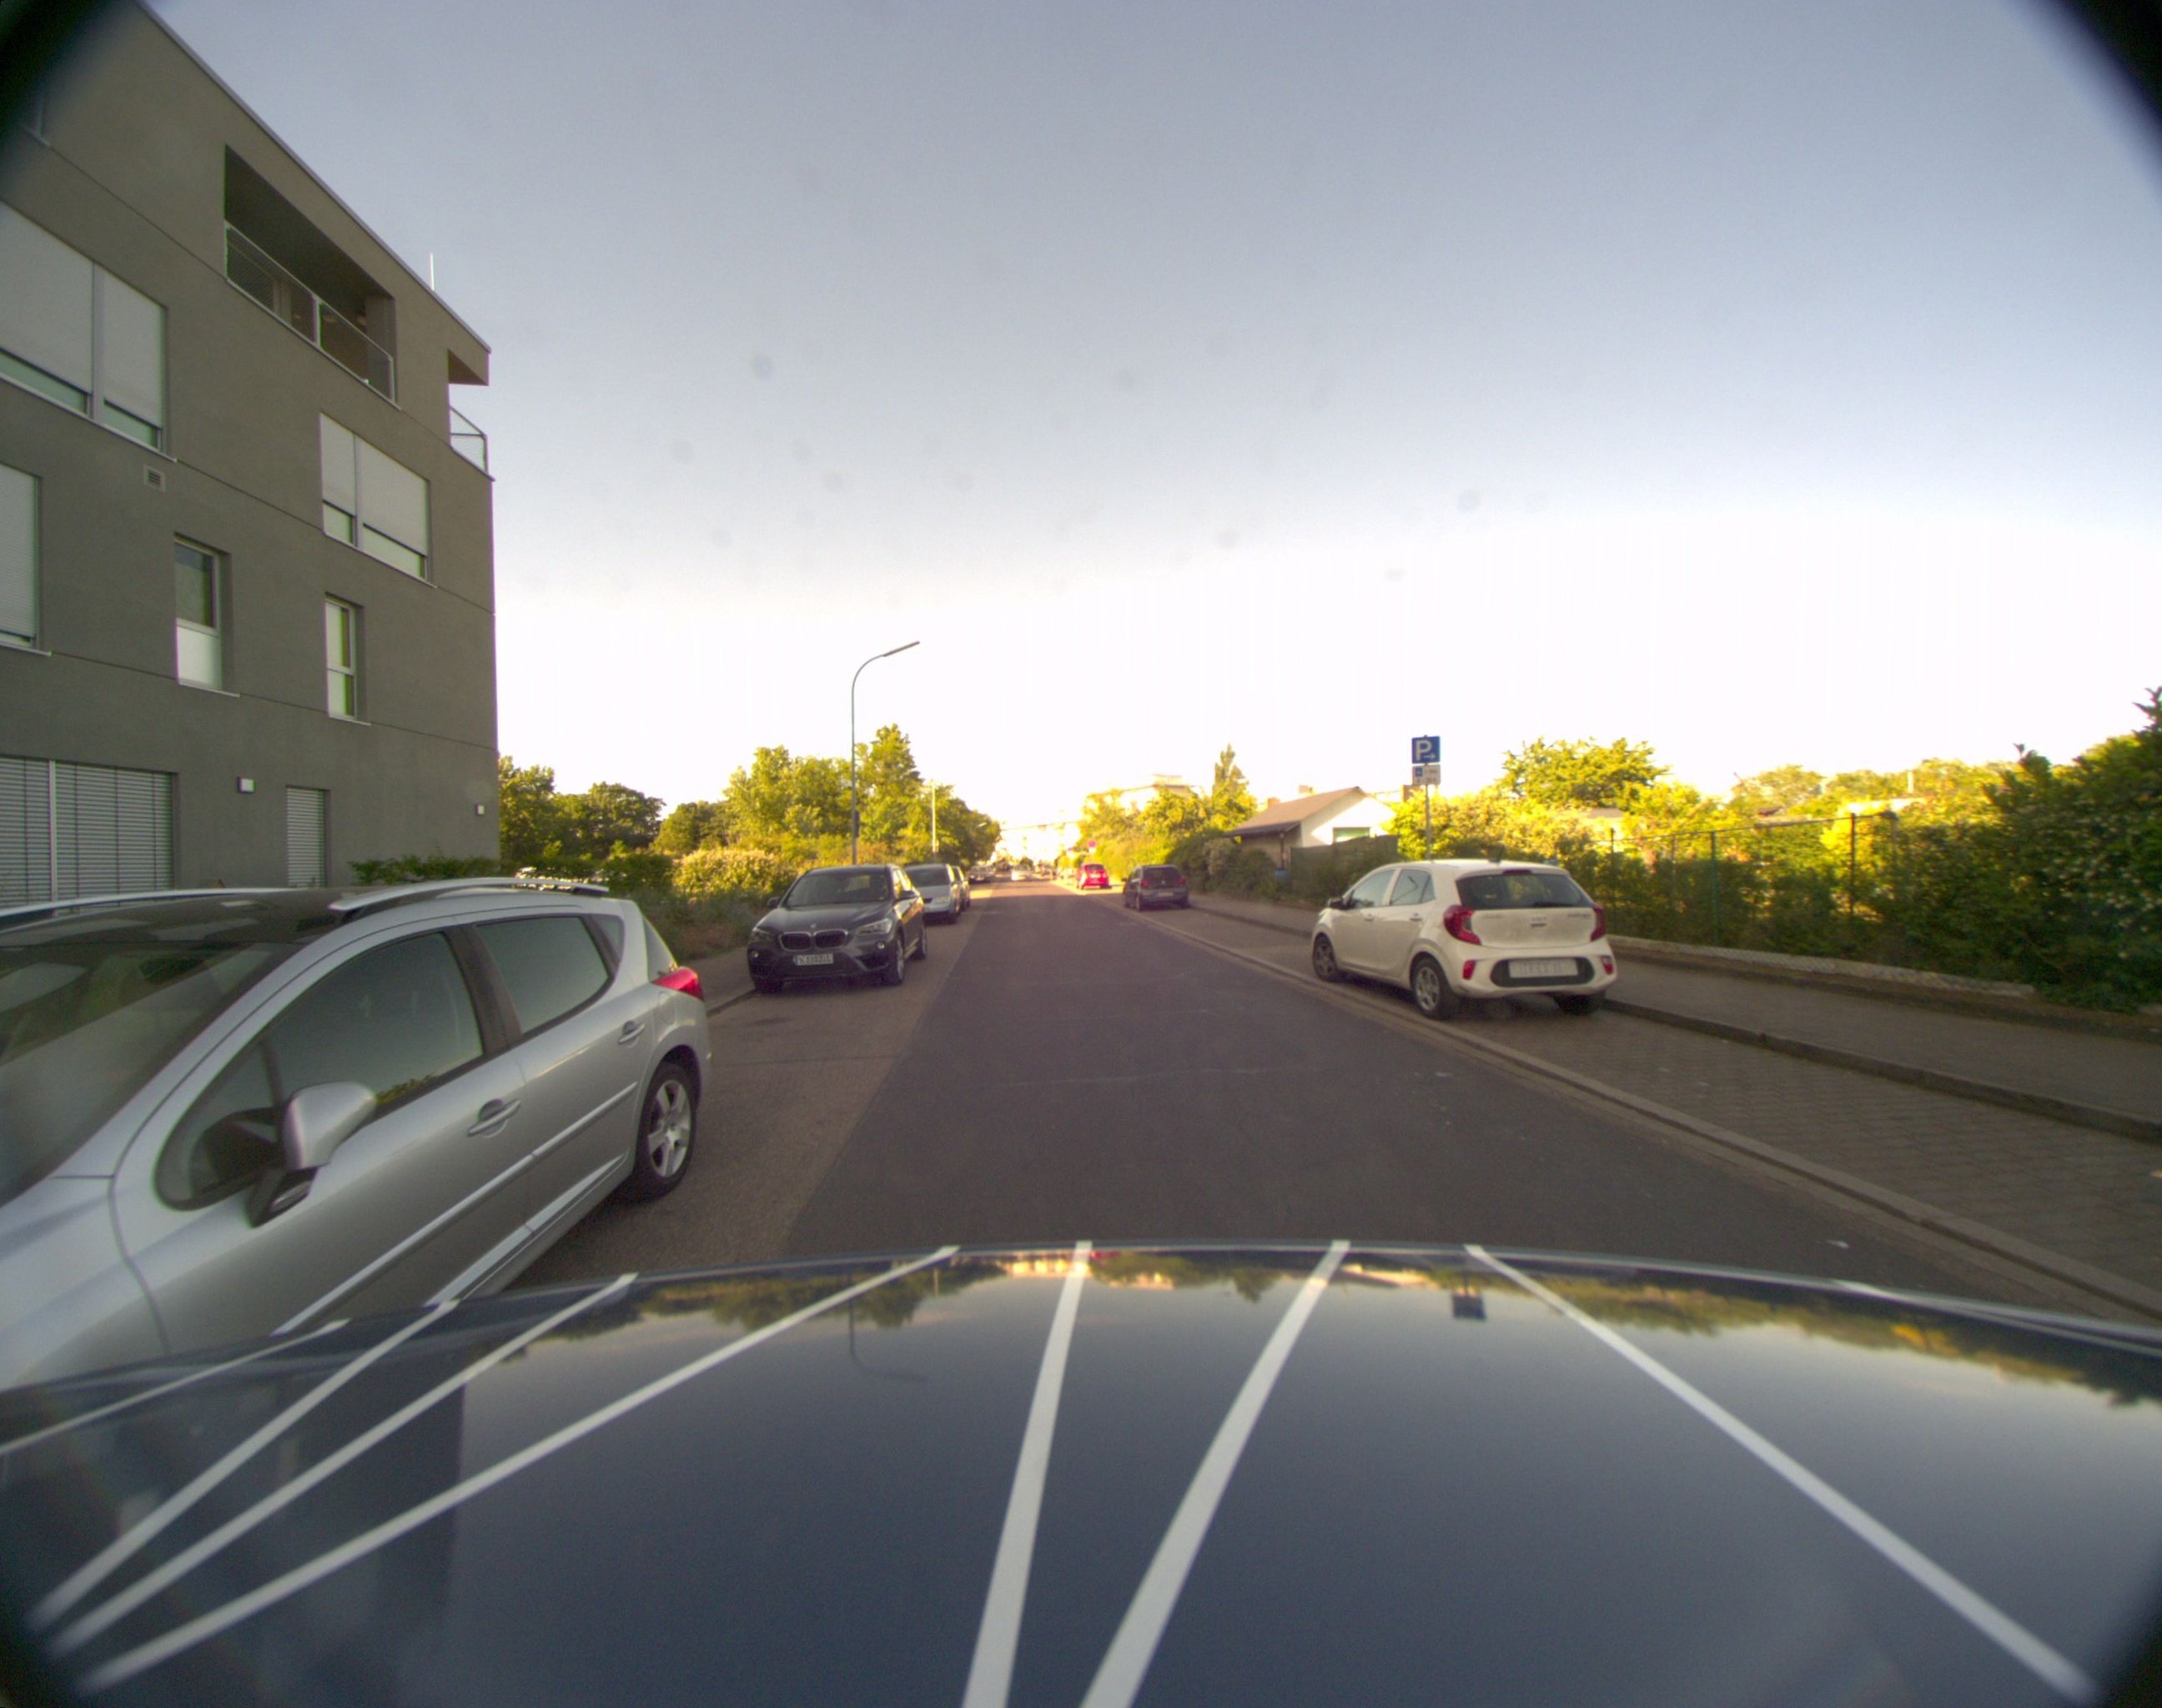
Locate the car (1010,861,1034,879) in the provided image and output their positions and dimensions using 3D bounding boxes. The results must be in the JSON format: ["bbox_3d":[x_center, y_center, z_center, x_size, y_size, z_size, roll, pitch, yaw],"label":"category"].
[{"bbox_3d":[-5.132,1.384,65.881,1.680,1.440,3.996,-1,0,-10],"label":"car"}]

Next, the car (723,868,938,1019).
[{"bbox_3d":[-3.308,1.066,11.098,1.750,1.557,4.801,-3,0,-4],"label":"car"}]

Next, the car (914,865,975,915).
[{"bbox_3d":[-4.671,1.198,26.357,1.712,1.517,3.091,-3,0,-5],"label":"car"}]

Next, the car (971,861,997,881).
[{"bbox_3d":[-7.829,1.361,61.589,1.874,1.517,4.153,-2,0,-5],"label":"car"}]

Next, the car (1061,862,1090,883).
[{"bbox_3d":[-0.423,1.247,53.102,1.701,1.361,3.909,-1,0,-6],"label":"car"}]

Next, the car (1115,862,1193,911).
[{"bbox_3d":[2.354,1.016,25.705,1.701,1.415,4.515,-3,0,-6],"label":"car"}]

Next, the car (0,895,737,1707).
[{"bbox_3d":[-2.655,1.026,2.095,1.712,1.517,4.153,-3,0,-5],"label":"car"}]

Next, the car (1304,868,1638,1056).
[{"bbox_3d":[3.787,0.929,8.068,1.532,1.479,3.400,-2,0,-6],"label":"car"}]

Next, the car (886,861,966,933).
[{"bbox_3d":[-4.250,1.101,21.385,1.712,1.695,4.347,-4,0,-7],"label":"car"}]

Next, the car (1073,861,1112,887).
[{"bbox_3d":[0.611,1.103,43.508,1.701,1.421,4.384,-1,0,-6],"label":"car"}]
